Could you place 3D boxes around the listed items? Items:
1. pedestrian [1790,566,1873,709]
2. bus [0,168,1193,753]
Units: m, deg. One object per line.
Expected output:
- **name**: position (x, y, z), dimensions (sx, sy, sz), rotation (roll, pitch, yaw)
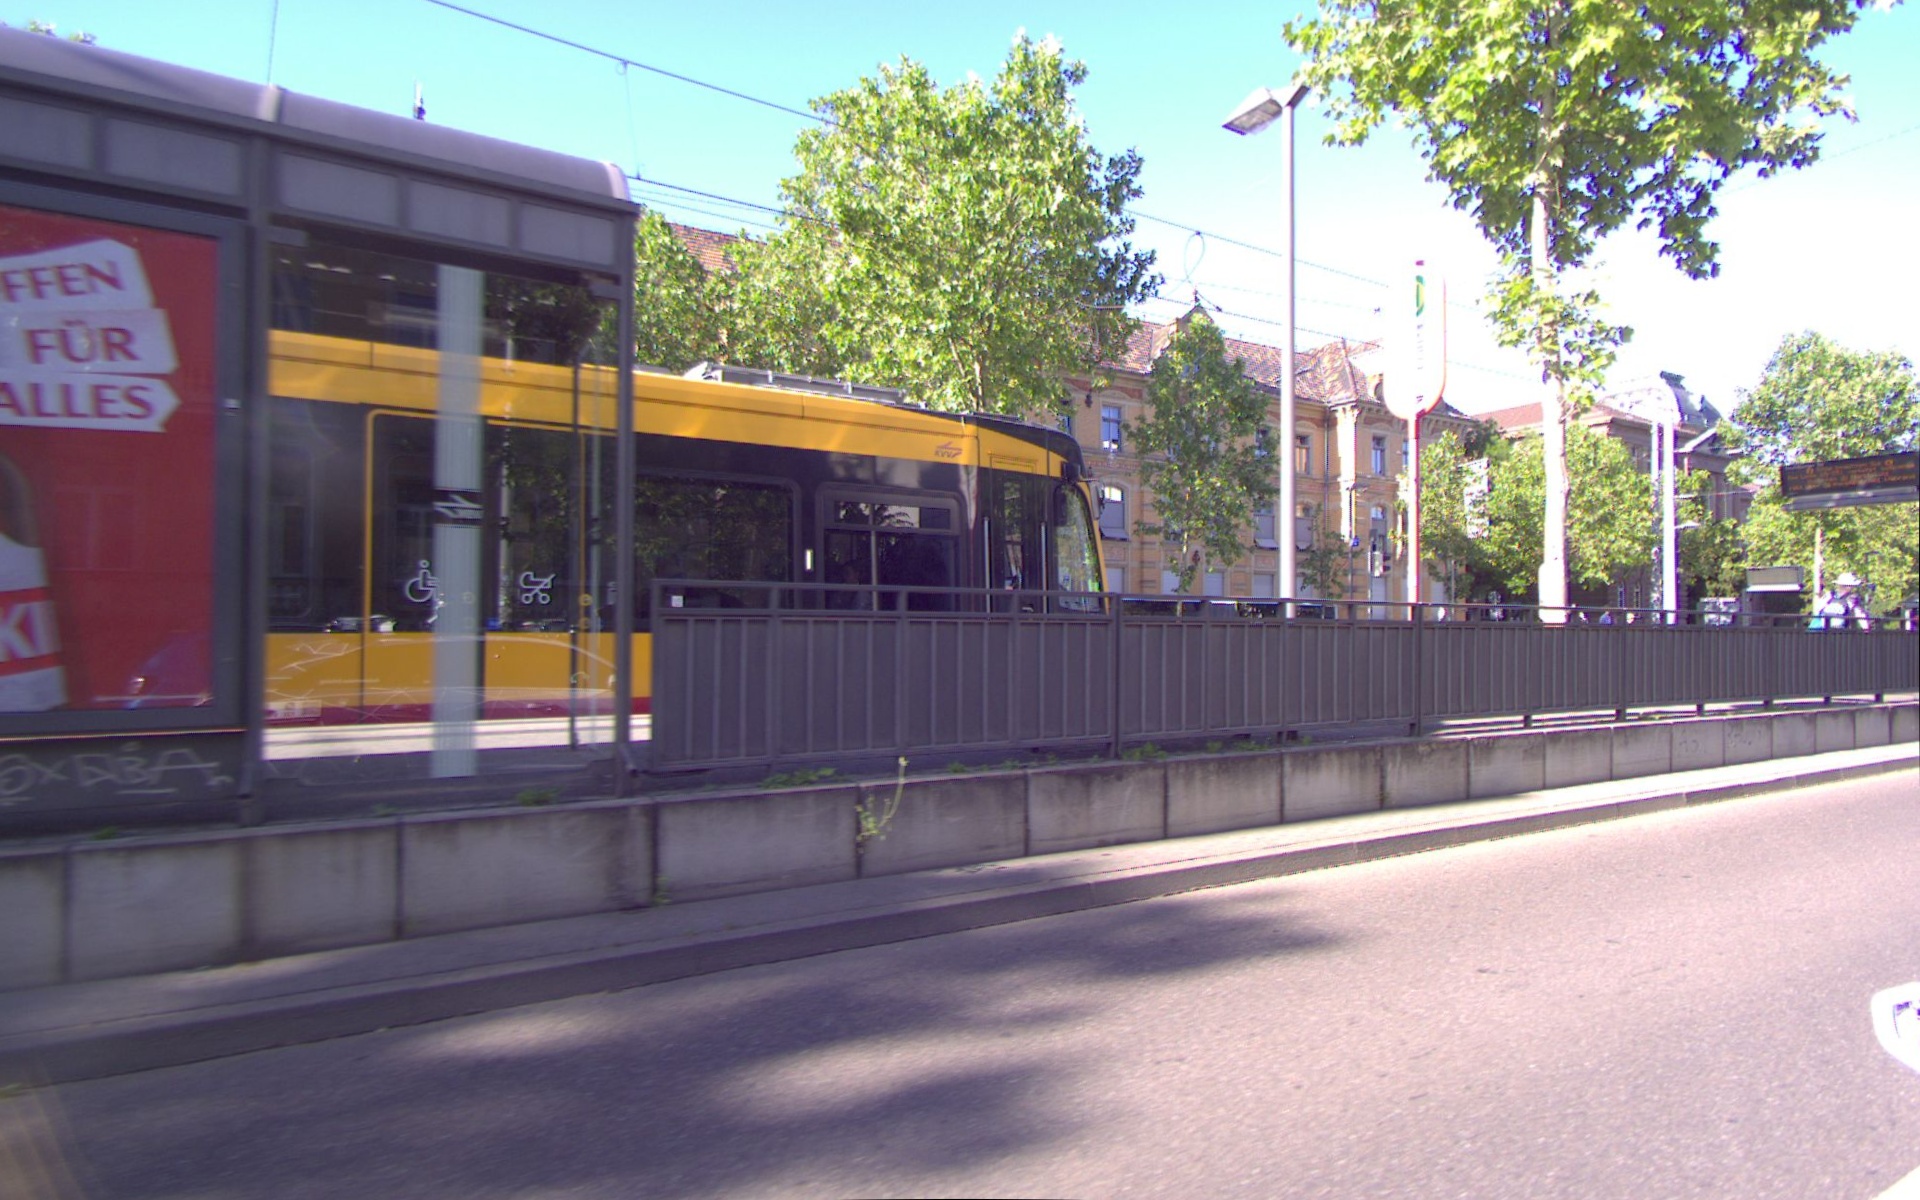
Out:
- **pedestrian**: position (12.451, 0.514, 14.351), dimensions (0.804, 1.980, 0.636), rotation (1, 1, -30)
- **bus**: position (-3.176, -0.758, 9.109), dimensions (11.472, 3.490, 2.856), rotation (1, -1, -30)
